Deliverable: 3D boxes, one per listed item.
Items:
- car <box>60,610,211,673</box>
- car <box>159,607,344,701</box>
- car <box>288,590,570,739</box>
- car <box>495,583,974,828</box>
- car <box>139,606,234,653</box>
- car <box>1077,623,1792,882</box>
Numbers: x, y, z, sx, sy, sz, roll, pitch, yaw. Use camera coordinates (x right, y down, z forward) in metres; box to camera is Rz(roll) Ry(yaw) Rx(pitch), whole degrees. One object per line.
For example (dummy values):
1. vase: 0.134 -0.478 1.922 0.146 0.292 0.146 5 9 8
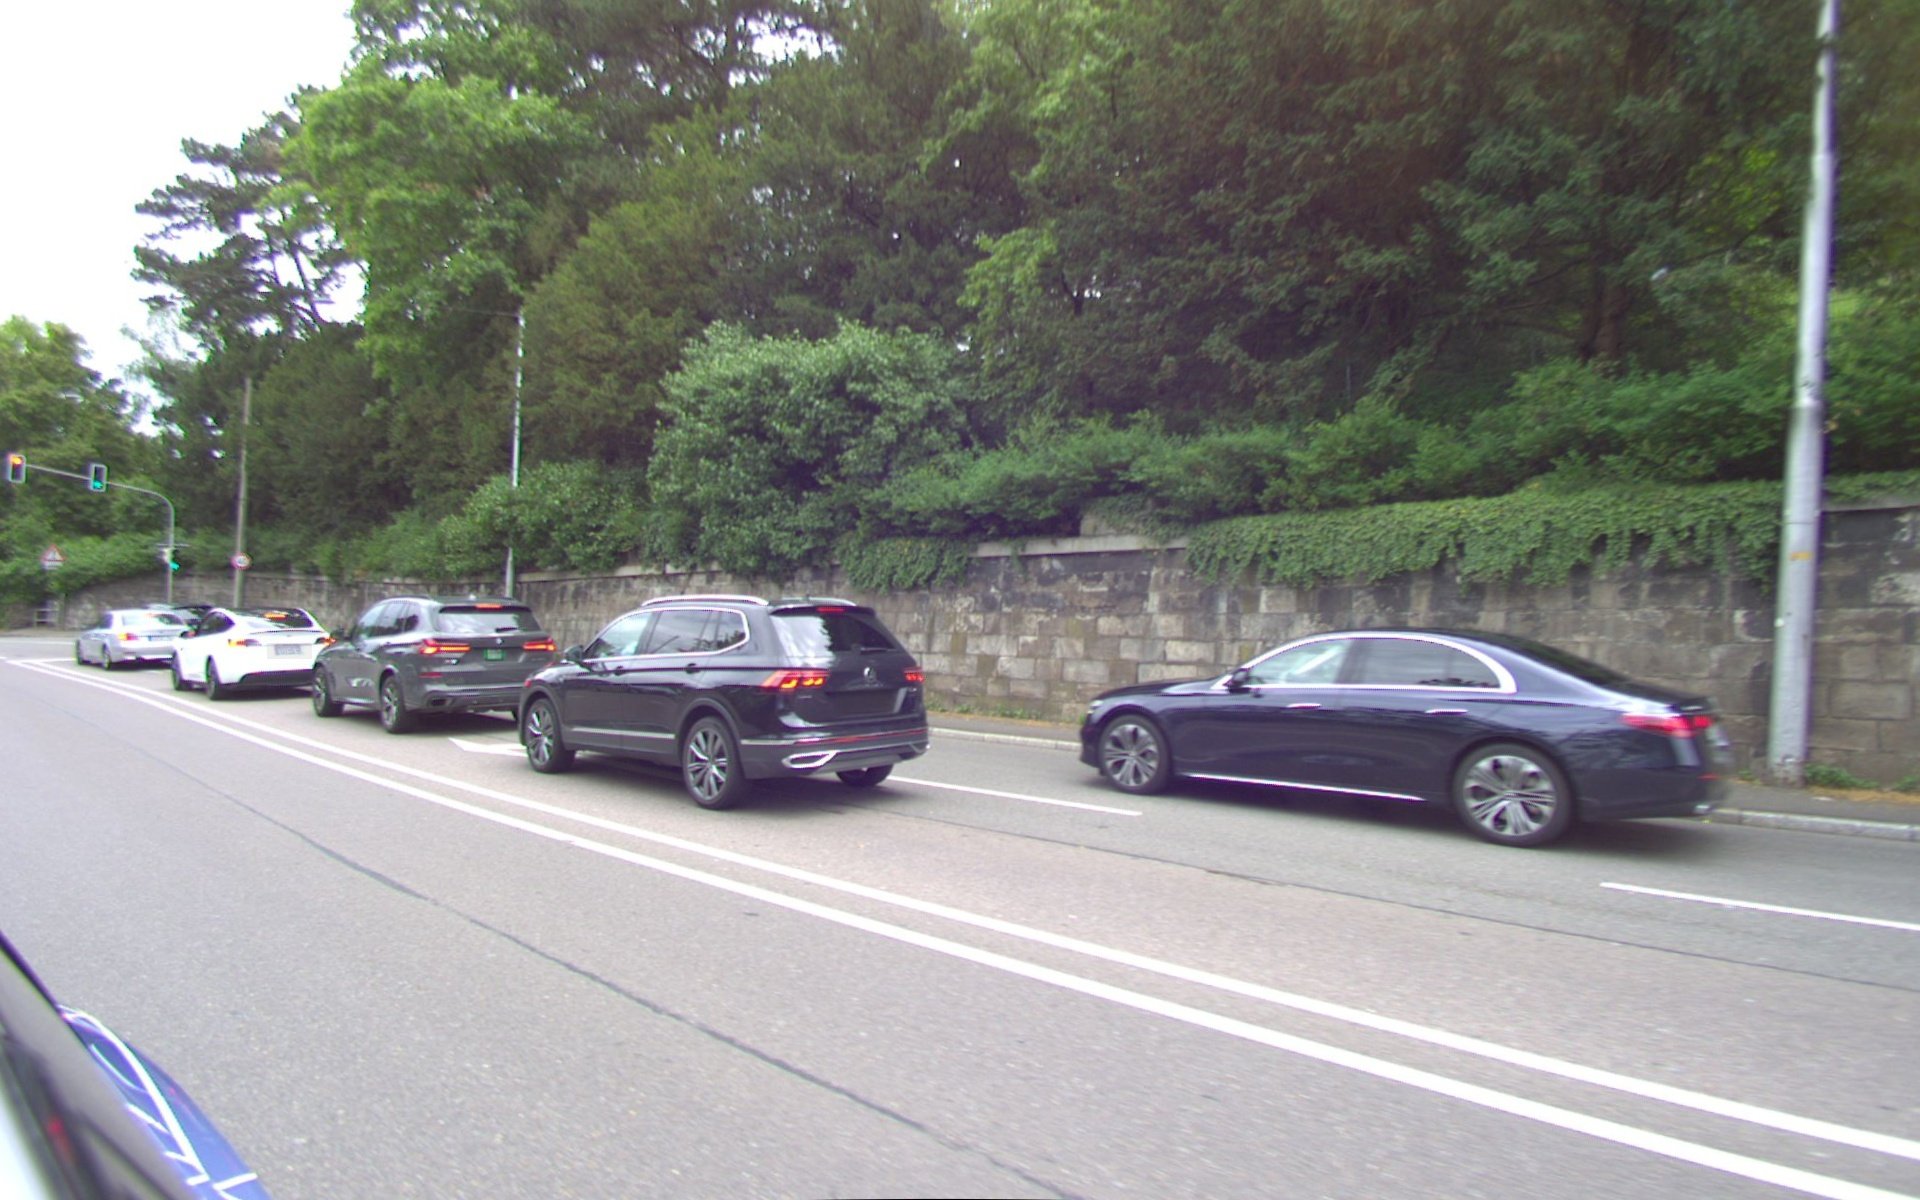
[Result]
1. car: -21.350 1.030 26.150 4.871 1.481 1.974 0 -2 38
2. car: -13.449 0.924 19.090 4.787 1.566 1.818 -1 -1 42
3. car: -7.641 0.814 14.333 4.877 1.763 1.939 -1 -2 42
4. car: -2.222 0.774 9.135 4.622 1.664 1.828 -1 -3 41
5. car: -25.651 0.943 33.523 3.954 1.445 1.615 -1 -1 39
6. car: 3.451 0.918 7.976 4.753 1.420 1.981 -1 -2 41
